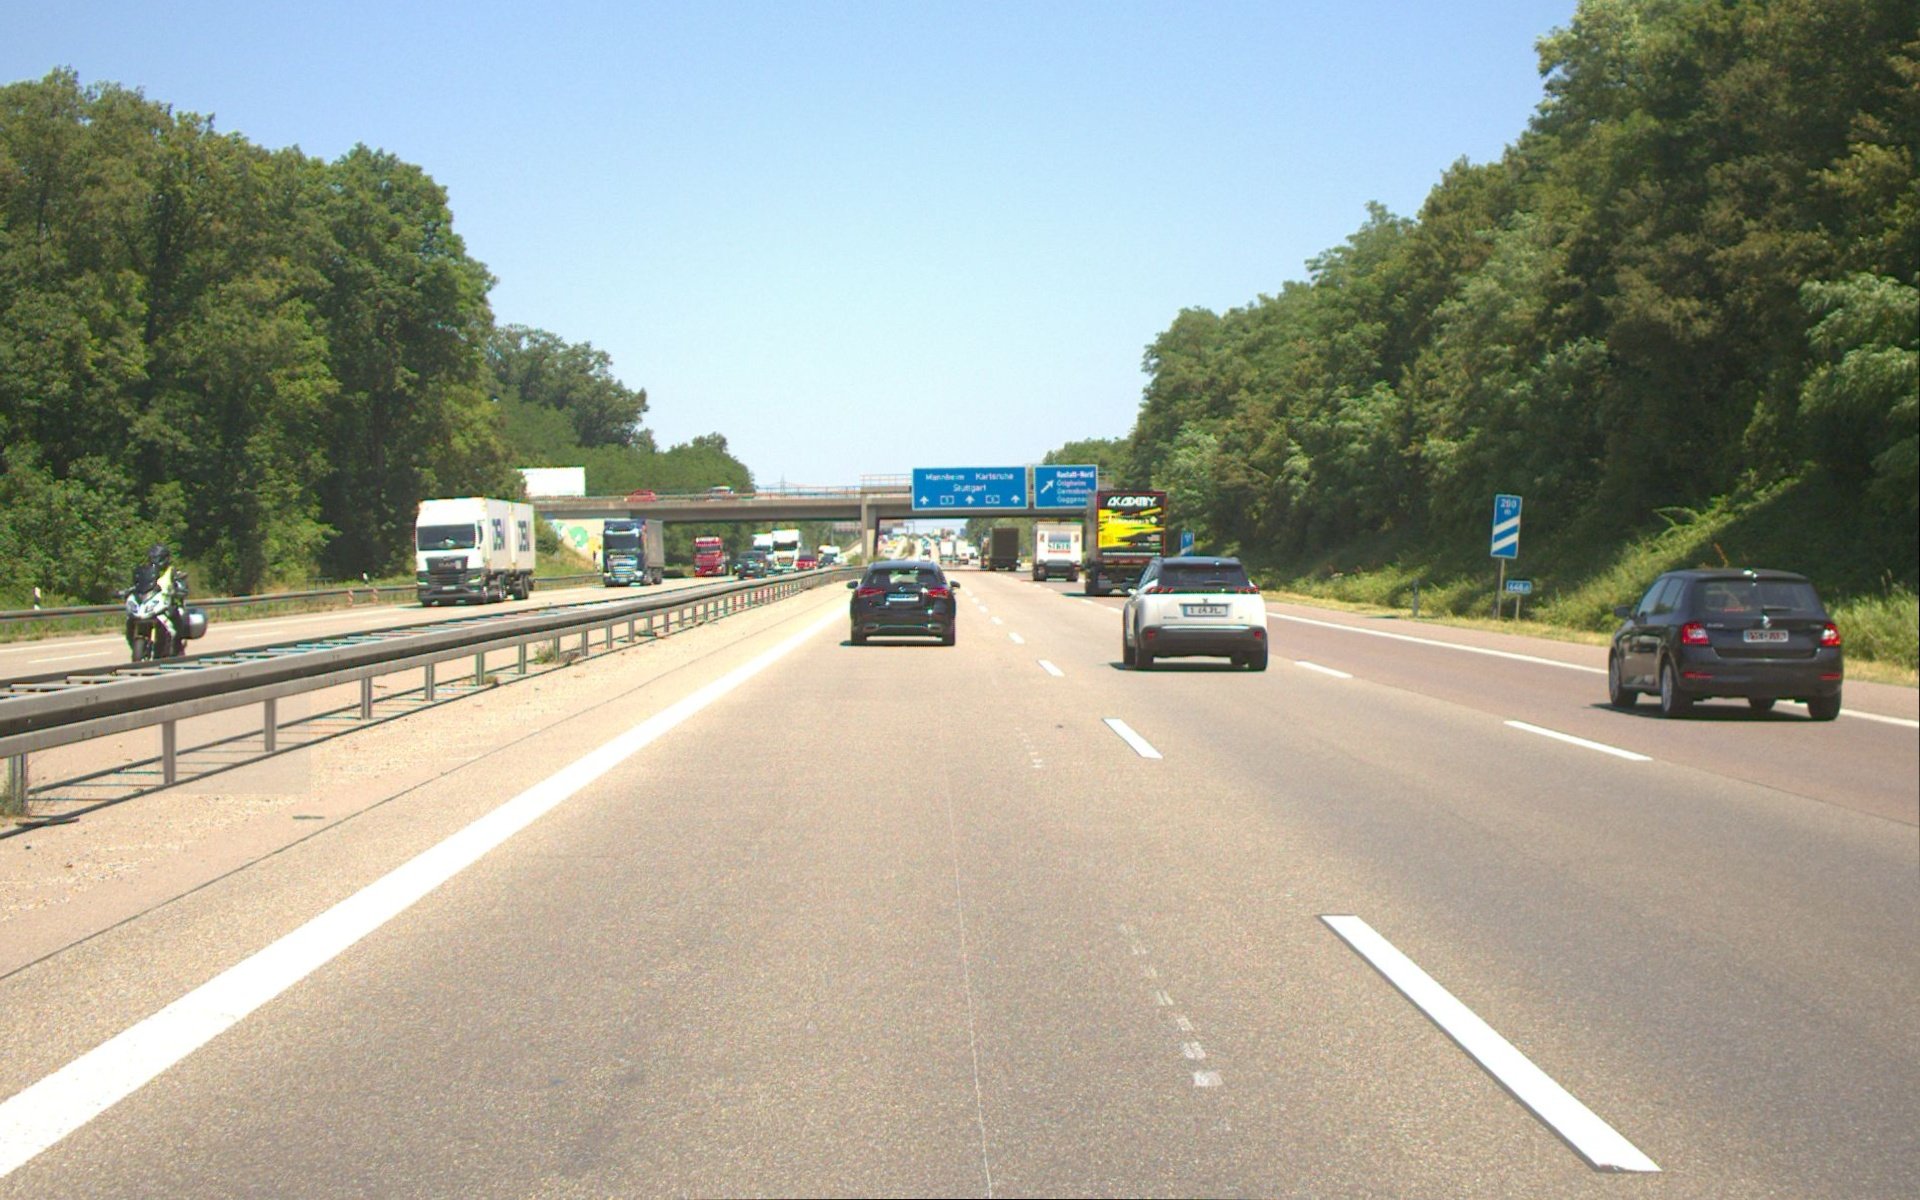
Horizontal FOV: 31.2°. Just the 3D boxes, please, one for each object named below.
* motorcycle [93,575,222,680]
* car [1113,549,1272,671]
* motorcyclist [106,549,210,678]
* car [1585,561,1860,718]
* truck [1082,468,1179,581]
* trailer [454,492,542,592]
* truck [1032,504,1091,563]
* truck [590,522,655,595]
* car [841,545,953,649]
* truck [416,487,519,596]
[{"bbox_3d":[-10.104,0.328,43.397,1.034,1.263,2.577,1,1,-1],"label":"motorcycle"},{"bbox_3d":[3.164,0.108,47.597,1.827,1.602,4.809,0,1,-1],"label":"car"},{"bbox_3d":[-10.117,0.162,43.408,1.041,1.594,1.151,1,0,-1],"label":"motorcyclist"},{"bbox_3d":[7.543,0.345,34.412,1.670,1.442,4.574,1,1,-1],"label":"car"},{"bbox_3d":[6.420,-2.819,131.305,2.975,4.023,10.982,2,1,0],"label":"truck"},{"bbox_3d":[-19.127,-2.368,142.739,2.578,3.976,8.560,1,1,-1],"label":"trailer"},{"bbox_3d":[5.975,-3.866,201.064,3.028,3.308,10.769,1,1,4],"label":"truck"},{"bbox_3d":[-20.506,-2.520,208.951,3.323,4.327,6.613,1,1,-1],"label":"truck"},{"bbox_3d":[-1.069,-0.067,58.909,1.827,1.700,4.000,1,1,-1],"label":"car"},{"bbox_3d":[-19.029,-2.232,133.326,2.580,3.994,10.339,1,1,-1],"label":"truck"}]
